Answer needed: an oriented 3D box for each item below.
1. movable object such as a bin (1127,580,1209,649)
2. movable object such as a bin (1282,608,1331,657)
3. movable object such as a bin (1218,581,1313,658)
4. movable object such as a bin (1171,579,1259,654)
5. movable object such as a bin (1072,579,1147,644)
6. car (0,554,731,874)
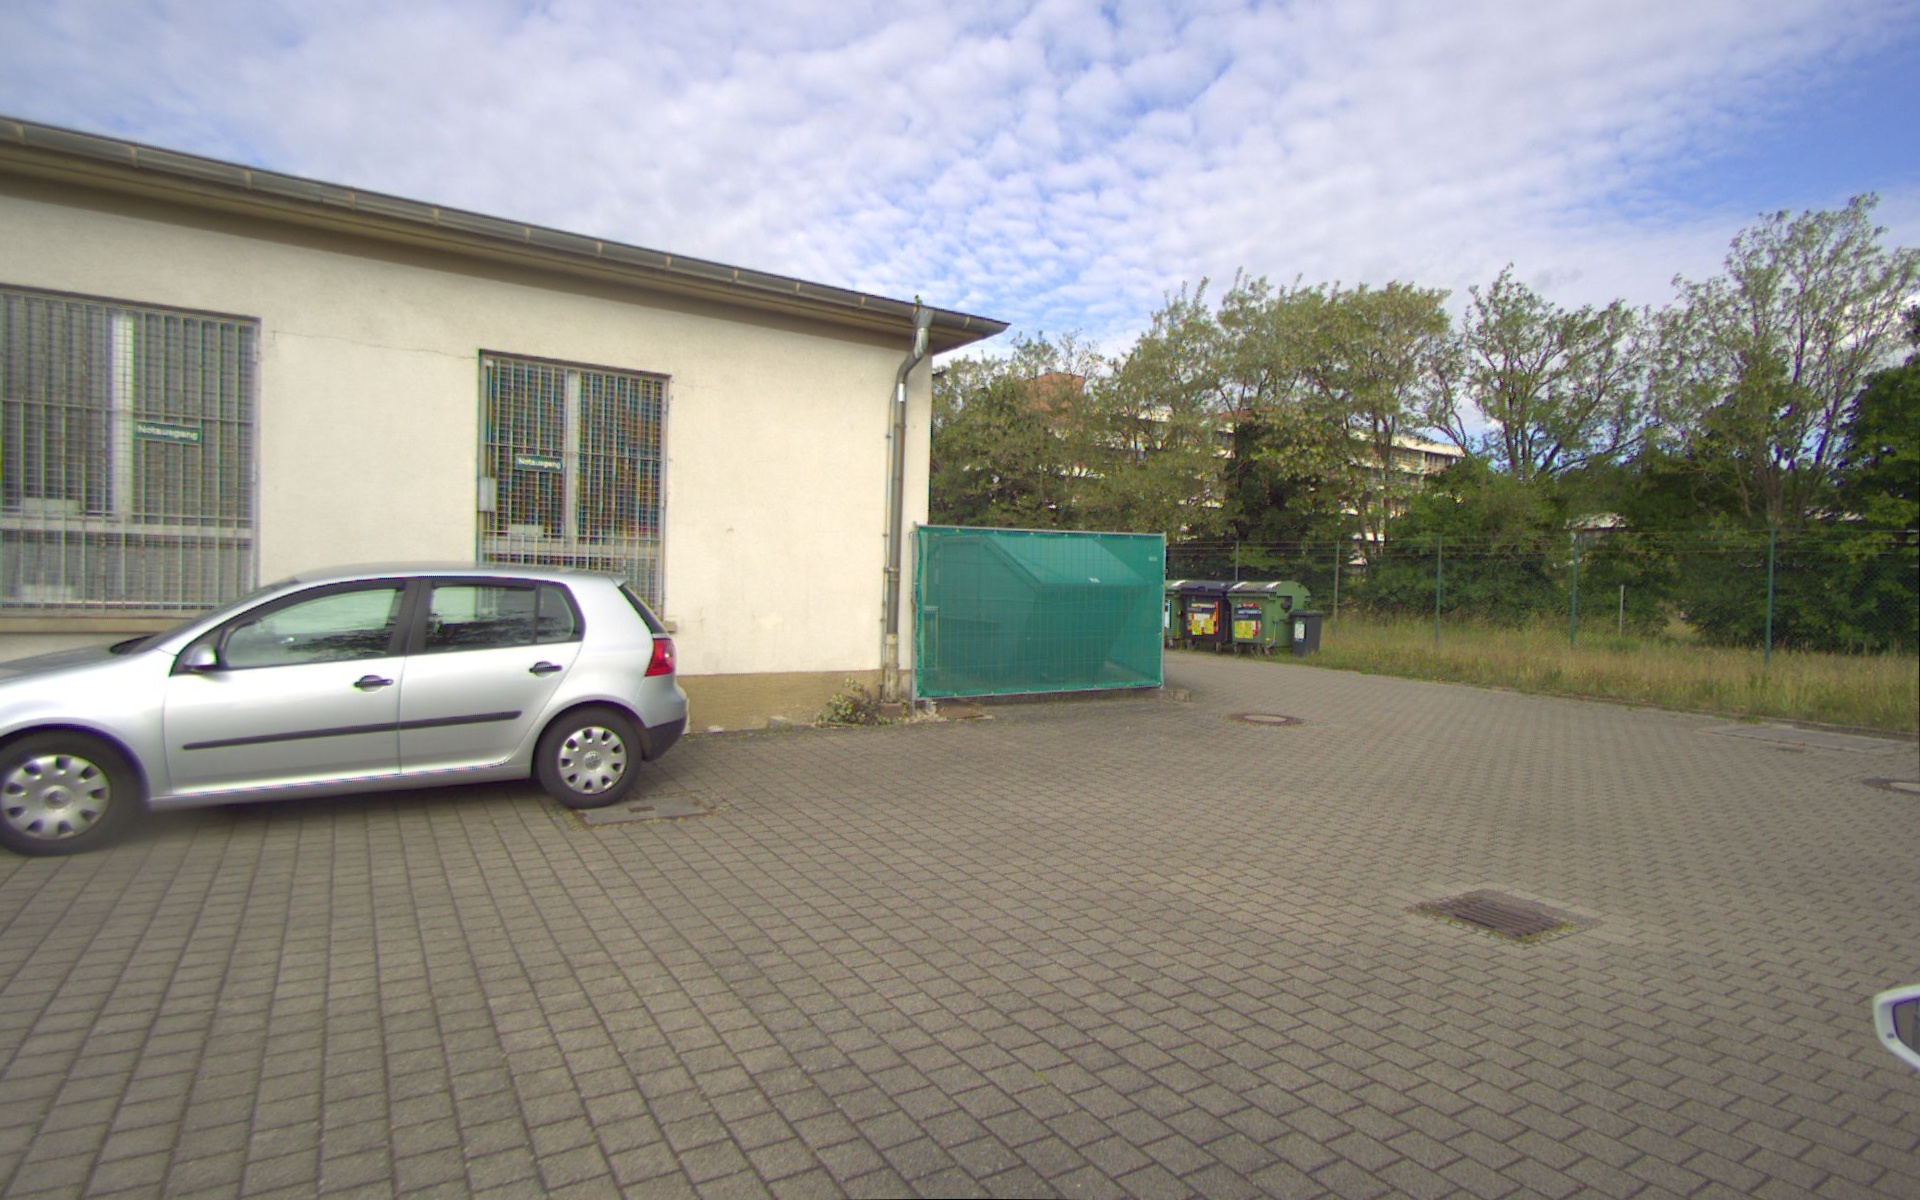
[{"bbox_3d":[4.449,0.304,21.517,1.060,1.424,1.374,1,0,-29],"label":"movable object such as a bin"},{"bbox_3d":[6.353,0.588,18.416,0.593,0.877,0.582,1,1,-23],"label":"movable object such as a bin"},{"bbox_3d":[5.834,0.355,19.239,1.116,1.414,1.348,1,0,-23],"label":"movable object such as a bin"},{"bbox_3d":[5.171,0.314,20.410,1.060,1.454,1.387,1,0,-29],"label":"movable object such as a bin"},{"bbox_3d":[3.361,0.245,22.669,1.110,1.417,1.378,1,0,-21],"label":"movable object such as a bin"},{"bbox_3d":[-3.858,0.524,6.309,4.321,1.458,1.913,1,3,-33],"label":"car"}]
